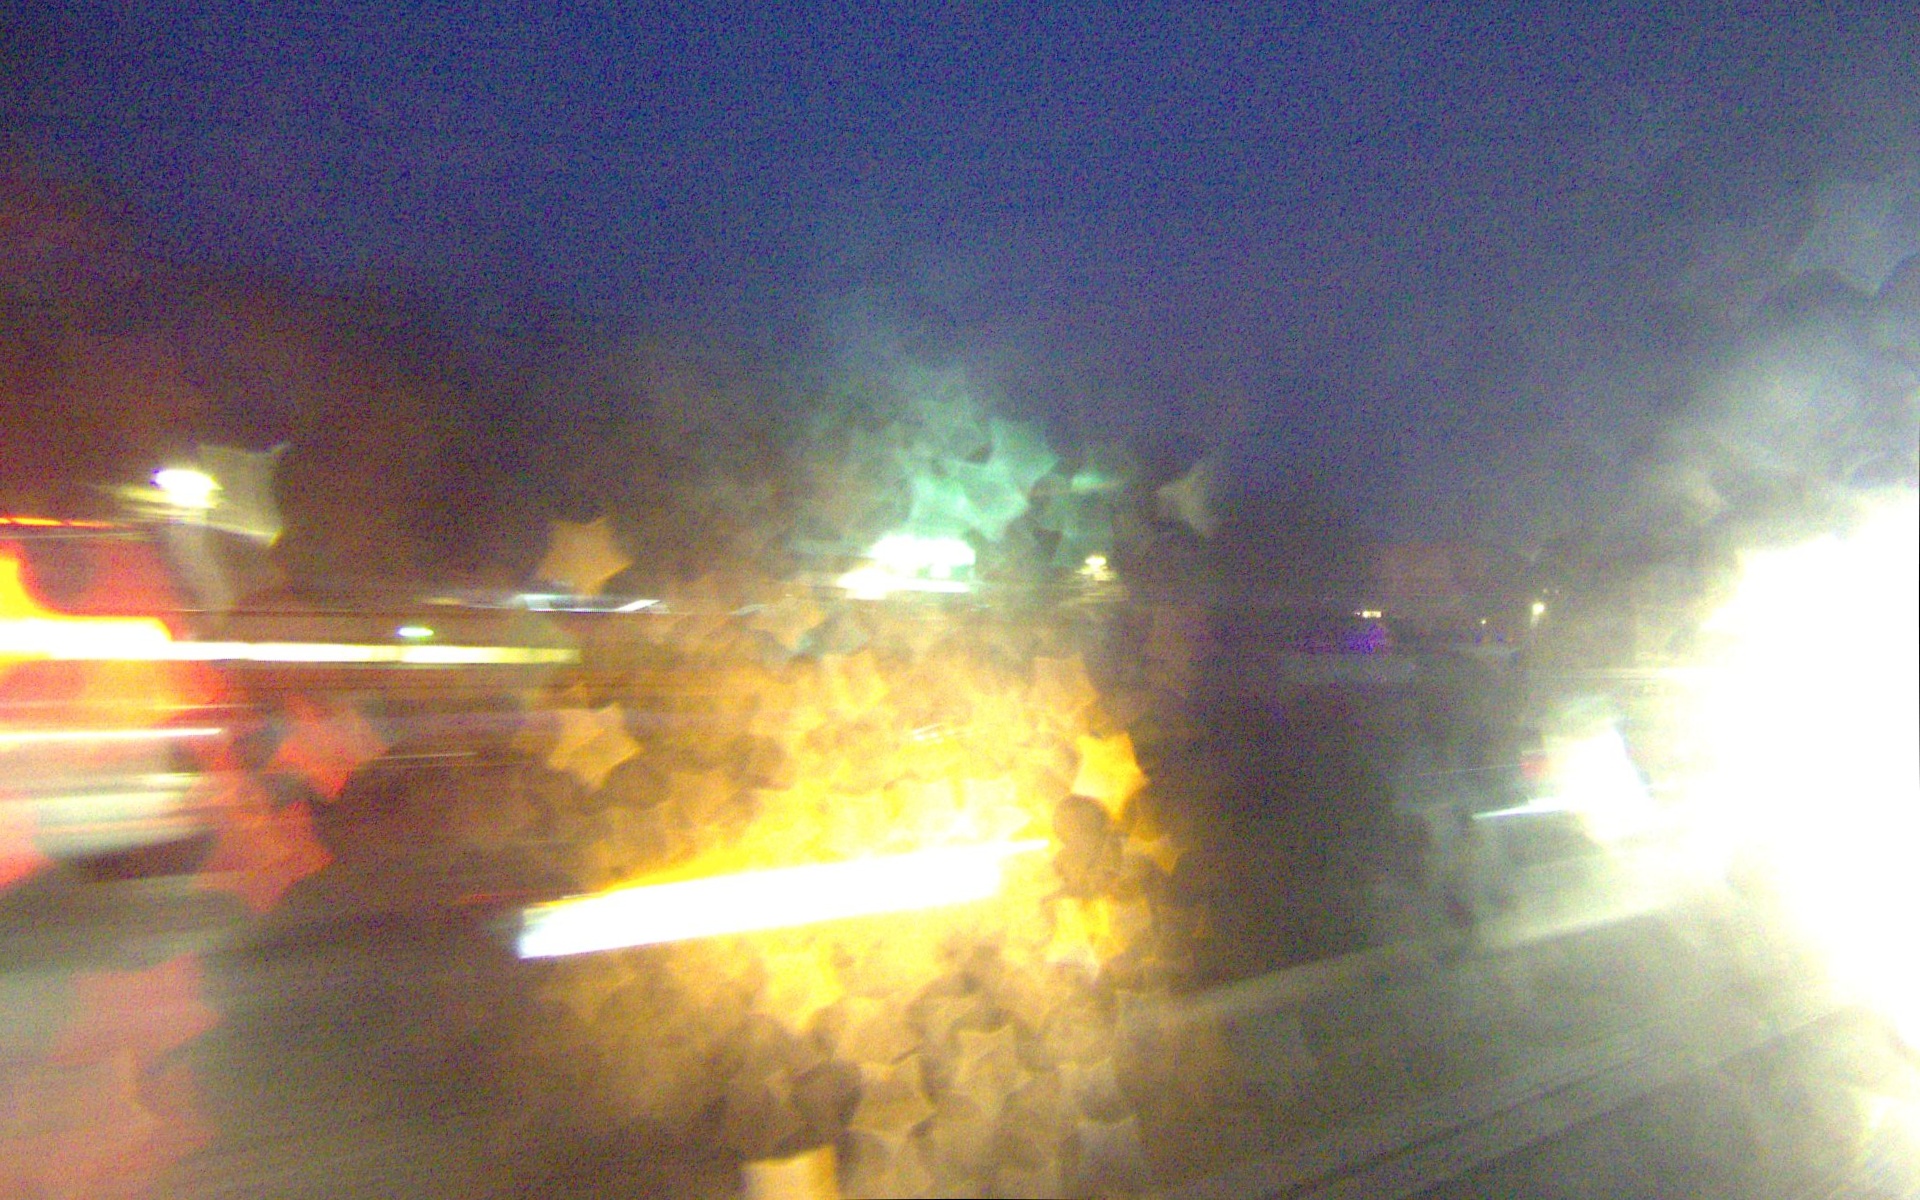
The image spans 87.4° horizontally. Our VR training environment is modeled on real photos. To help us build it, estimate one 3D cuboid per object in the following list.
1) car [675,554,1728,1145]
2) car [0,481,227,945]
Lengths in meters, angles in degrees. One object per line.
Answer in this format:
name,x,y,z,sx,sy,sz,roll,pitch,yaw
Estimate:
car,1.227,0.725,4.749,4.621,1.596,2.102,1,0,-28
car,-6.372,0.424,3.994,5.248,1.889,1.987,1,-1,-26
